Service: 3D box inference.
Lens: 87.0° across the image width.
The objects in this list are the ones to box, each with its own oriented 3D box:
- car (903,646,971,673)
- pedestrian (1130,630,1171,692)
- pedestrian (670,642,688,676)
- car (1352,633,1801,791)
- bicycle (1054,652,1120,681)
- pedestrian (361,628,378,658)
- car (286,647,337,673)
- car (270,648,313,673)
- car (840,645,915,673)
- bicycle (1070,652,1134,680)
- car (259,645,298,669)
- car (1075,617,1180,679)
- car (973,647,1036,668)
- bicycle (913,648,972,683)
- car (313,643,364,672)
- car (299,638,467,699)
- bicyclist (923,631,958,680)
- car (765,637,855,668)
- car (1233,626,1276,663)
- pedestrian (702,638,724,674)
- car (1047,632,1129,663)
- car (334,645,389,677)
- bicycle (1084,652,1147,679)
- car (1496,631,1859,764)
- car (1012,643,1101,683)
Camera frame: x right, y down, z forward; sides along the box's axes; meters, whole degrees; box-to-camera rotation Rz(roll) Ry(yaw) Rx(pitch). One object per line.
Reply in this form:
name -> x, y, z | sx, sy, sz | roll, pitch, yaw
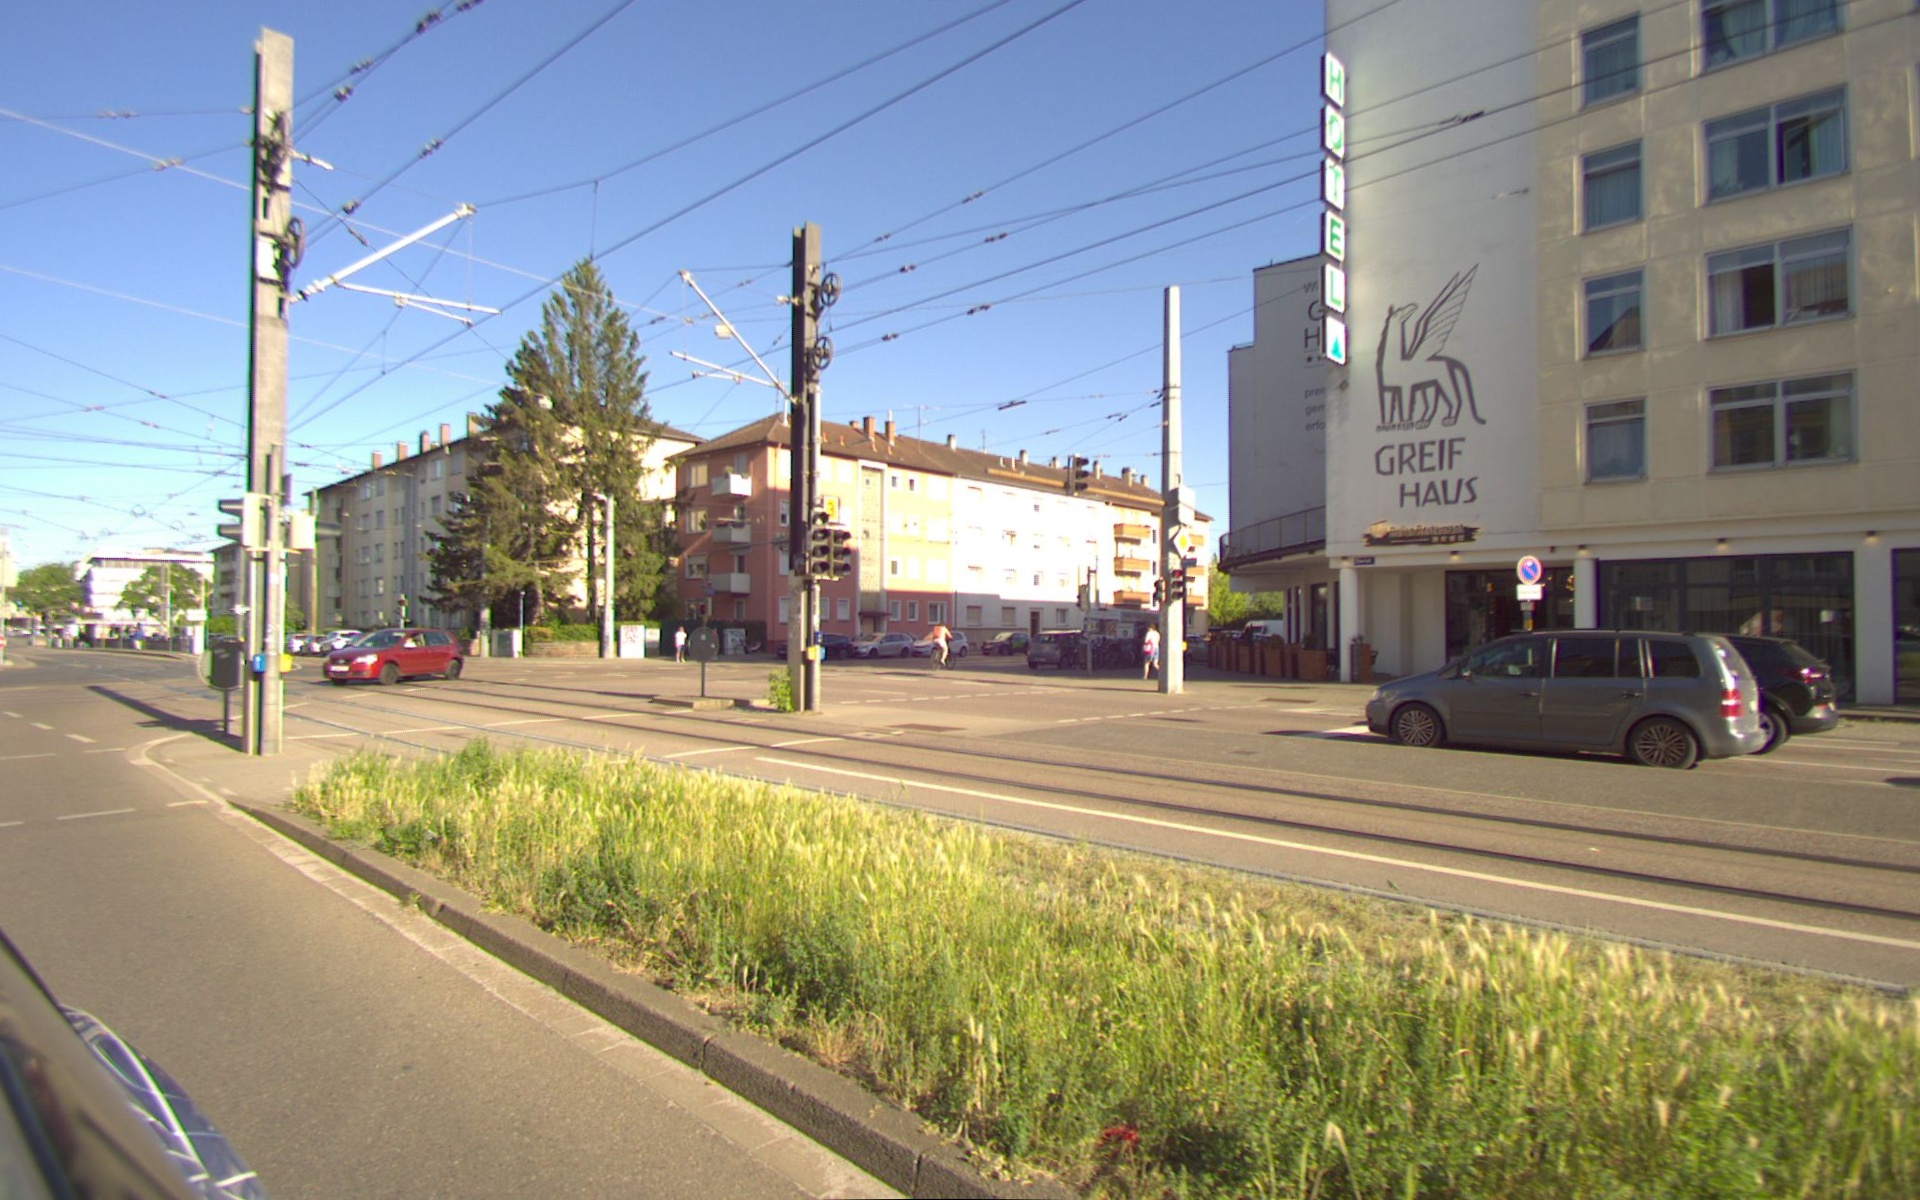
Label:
car -> -1.364, 3.589, 61.374 | 1.747, 1.537, 4.171 | 1, -2, 41
pedestrian -> 5.646, 1.795, 29.994 | 0.909, 1.759, 0.727 | 1, -2, 42
pedestrian -> -13.364, 2.805, 48.141 | 0.518, 1.580, 0.565 | 1, -2, 42
car -> 7.482, 1.233, 12.623 | 1.907, 1.560, 4.456 | 3, -3, -44
bicycle -> 4.549, 2.396, 36.466 | 2.257, 1.009, 0.845 | -3, -4, 41
pedestrian -> -38.375, 2.768, 65.763 | 0.689, 1.900, 0.781 | 3, -2, -44
car -> -43.165, 3.949, 67.285 | 4.032, 1.489, 1.809 | 1, -2, 42
car -> -46.867, 4.225, 70.973 | 3.789, 1.569, 1.638 | 1, -2, 43
car -> -4.692, 3.340, 57.869 | 1.910, 1.447, 4.044 | 1, -2, 43
bicycle -> 5.269, 2.433, 37.592 | 2.257, 1.009, 0.845 | -3, -4, 41
car -> -50.067, 4.176, 74.302 | 3.647, 1.537, 1.538 | 1, -2, 43
car -> 7.281, 2.037, 43.524 | 2.271, 2.501, 4.941 | 0, -2, 40
car -> 2.971, 3.757, 66.627 | 1.952, 1.249, 4.225 | 1, -2, 40
bicycle -> -0.621, 2.350, 36.454 | 2.031, 1.190, 0.815 | 3, -2, -41
car -> -39.109, 3.564, 63.668 | 4.034, 1.610, 1.748 | 1, -2, 44
car -> -15.285, 1.780, 27.056 | 1.767, 1.497, 3.811 | -1, -3, 14
bicyclist -> -0.702, 1.990, 36.377 | 0.920, 1.705, 0.815 | 3, -2, -41
car -> -7.975, 2.832, 54.130 | 2.159, 1.442, 4.381 | 1, -3, 40
car -> 26.155, 3.925, 89.839 | 2.425, 3.166, 3.439 | 1, -2, 42
pedestrian -> -12.171, 2.751, 49.882 | 0.777, 1.735, 0.701 | 2, -1, 14
car -> 6.261, 2.315, 49.536 | 3.599, 1.463, 1.747 | 2, -2, -29
car -> -35.350, 3.596, 59.765 | 1.843, 1.640, 4.076 | 3, -1, -44
bicycle -> 5.903, 2.480, 38.509 | 2.257, 1.009, 0.845 | -3, -4, 41
car -> 10.130, 1.272, 14.474 | 4.046, 1.587, 1.770 | -1, -3, 43
car -> 3.855, 2.458, 39.940 | 1.661, 1.442, 3.838 | 1, -1, 38
